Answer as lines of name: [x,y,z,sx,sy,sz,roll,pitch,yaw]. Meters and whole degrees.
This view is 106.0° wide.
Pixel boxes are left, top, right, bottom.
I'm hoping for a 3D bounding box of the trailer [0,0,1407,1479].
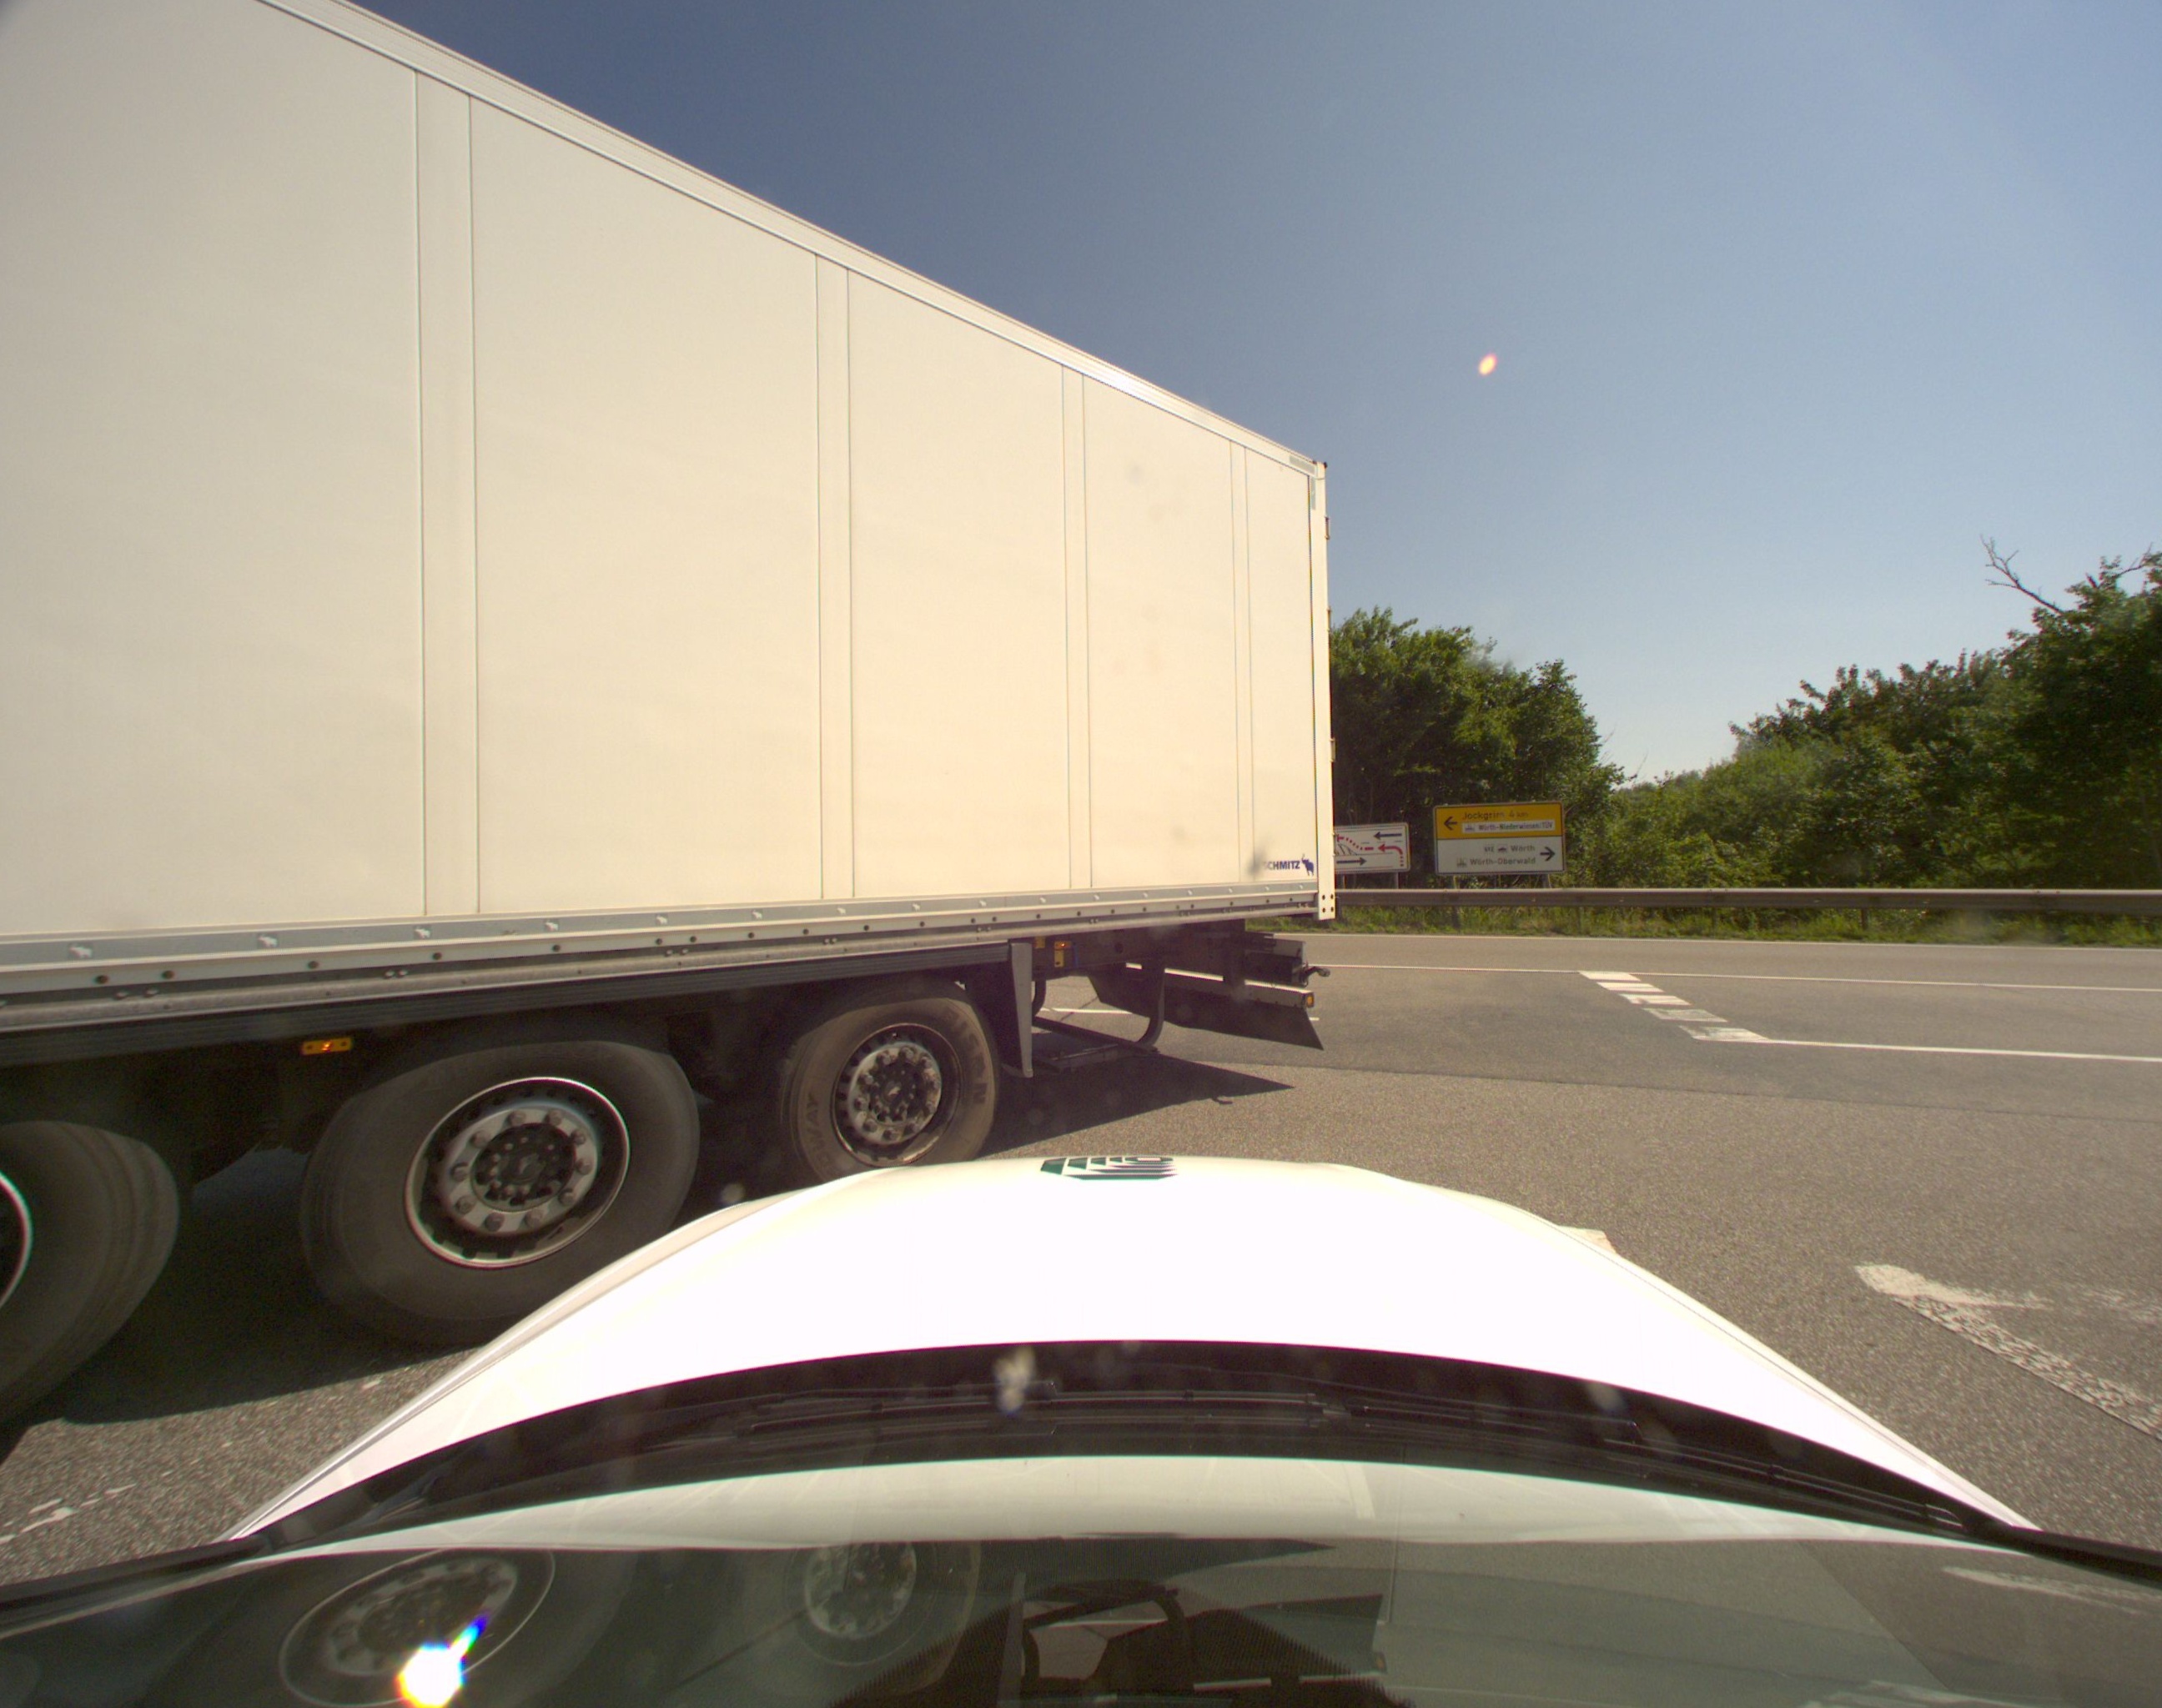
trailer: [-4.396,-0.619,2.289,14.043,4.165,2.864,-1,0,-36]
